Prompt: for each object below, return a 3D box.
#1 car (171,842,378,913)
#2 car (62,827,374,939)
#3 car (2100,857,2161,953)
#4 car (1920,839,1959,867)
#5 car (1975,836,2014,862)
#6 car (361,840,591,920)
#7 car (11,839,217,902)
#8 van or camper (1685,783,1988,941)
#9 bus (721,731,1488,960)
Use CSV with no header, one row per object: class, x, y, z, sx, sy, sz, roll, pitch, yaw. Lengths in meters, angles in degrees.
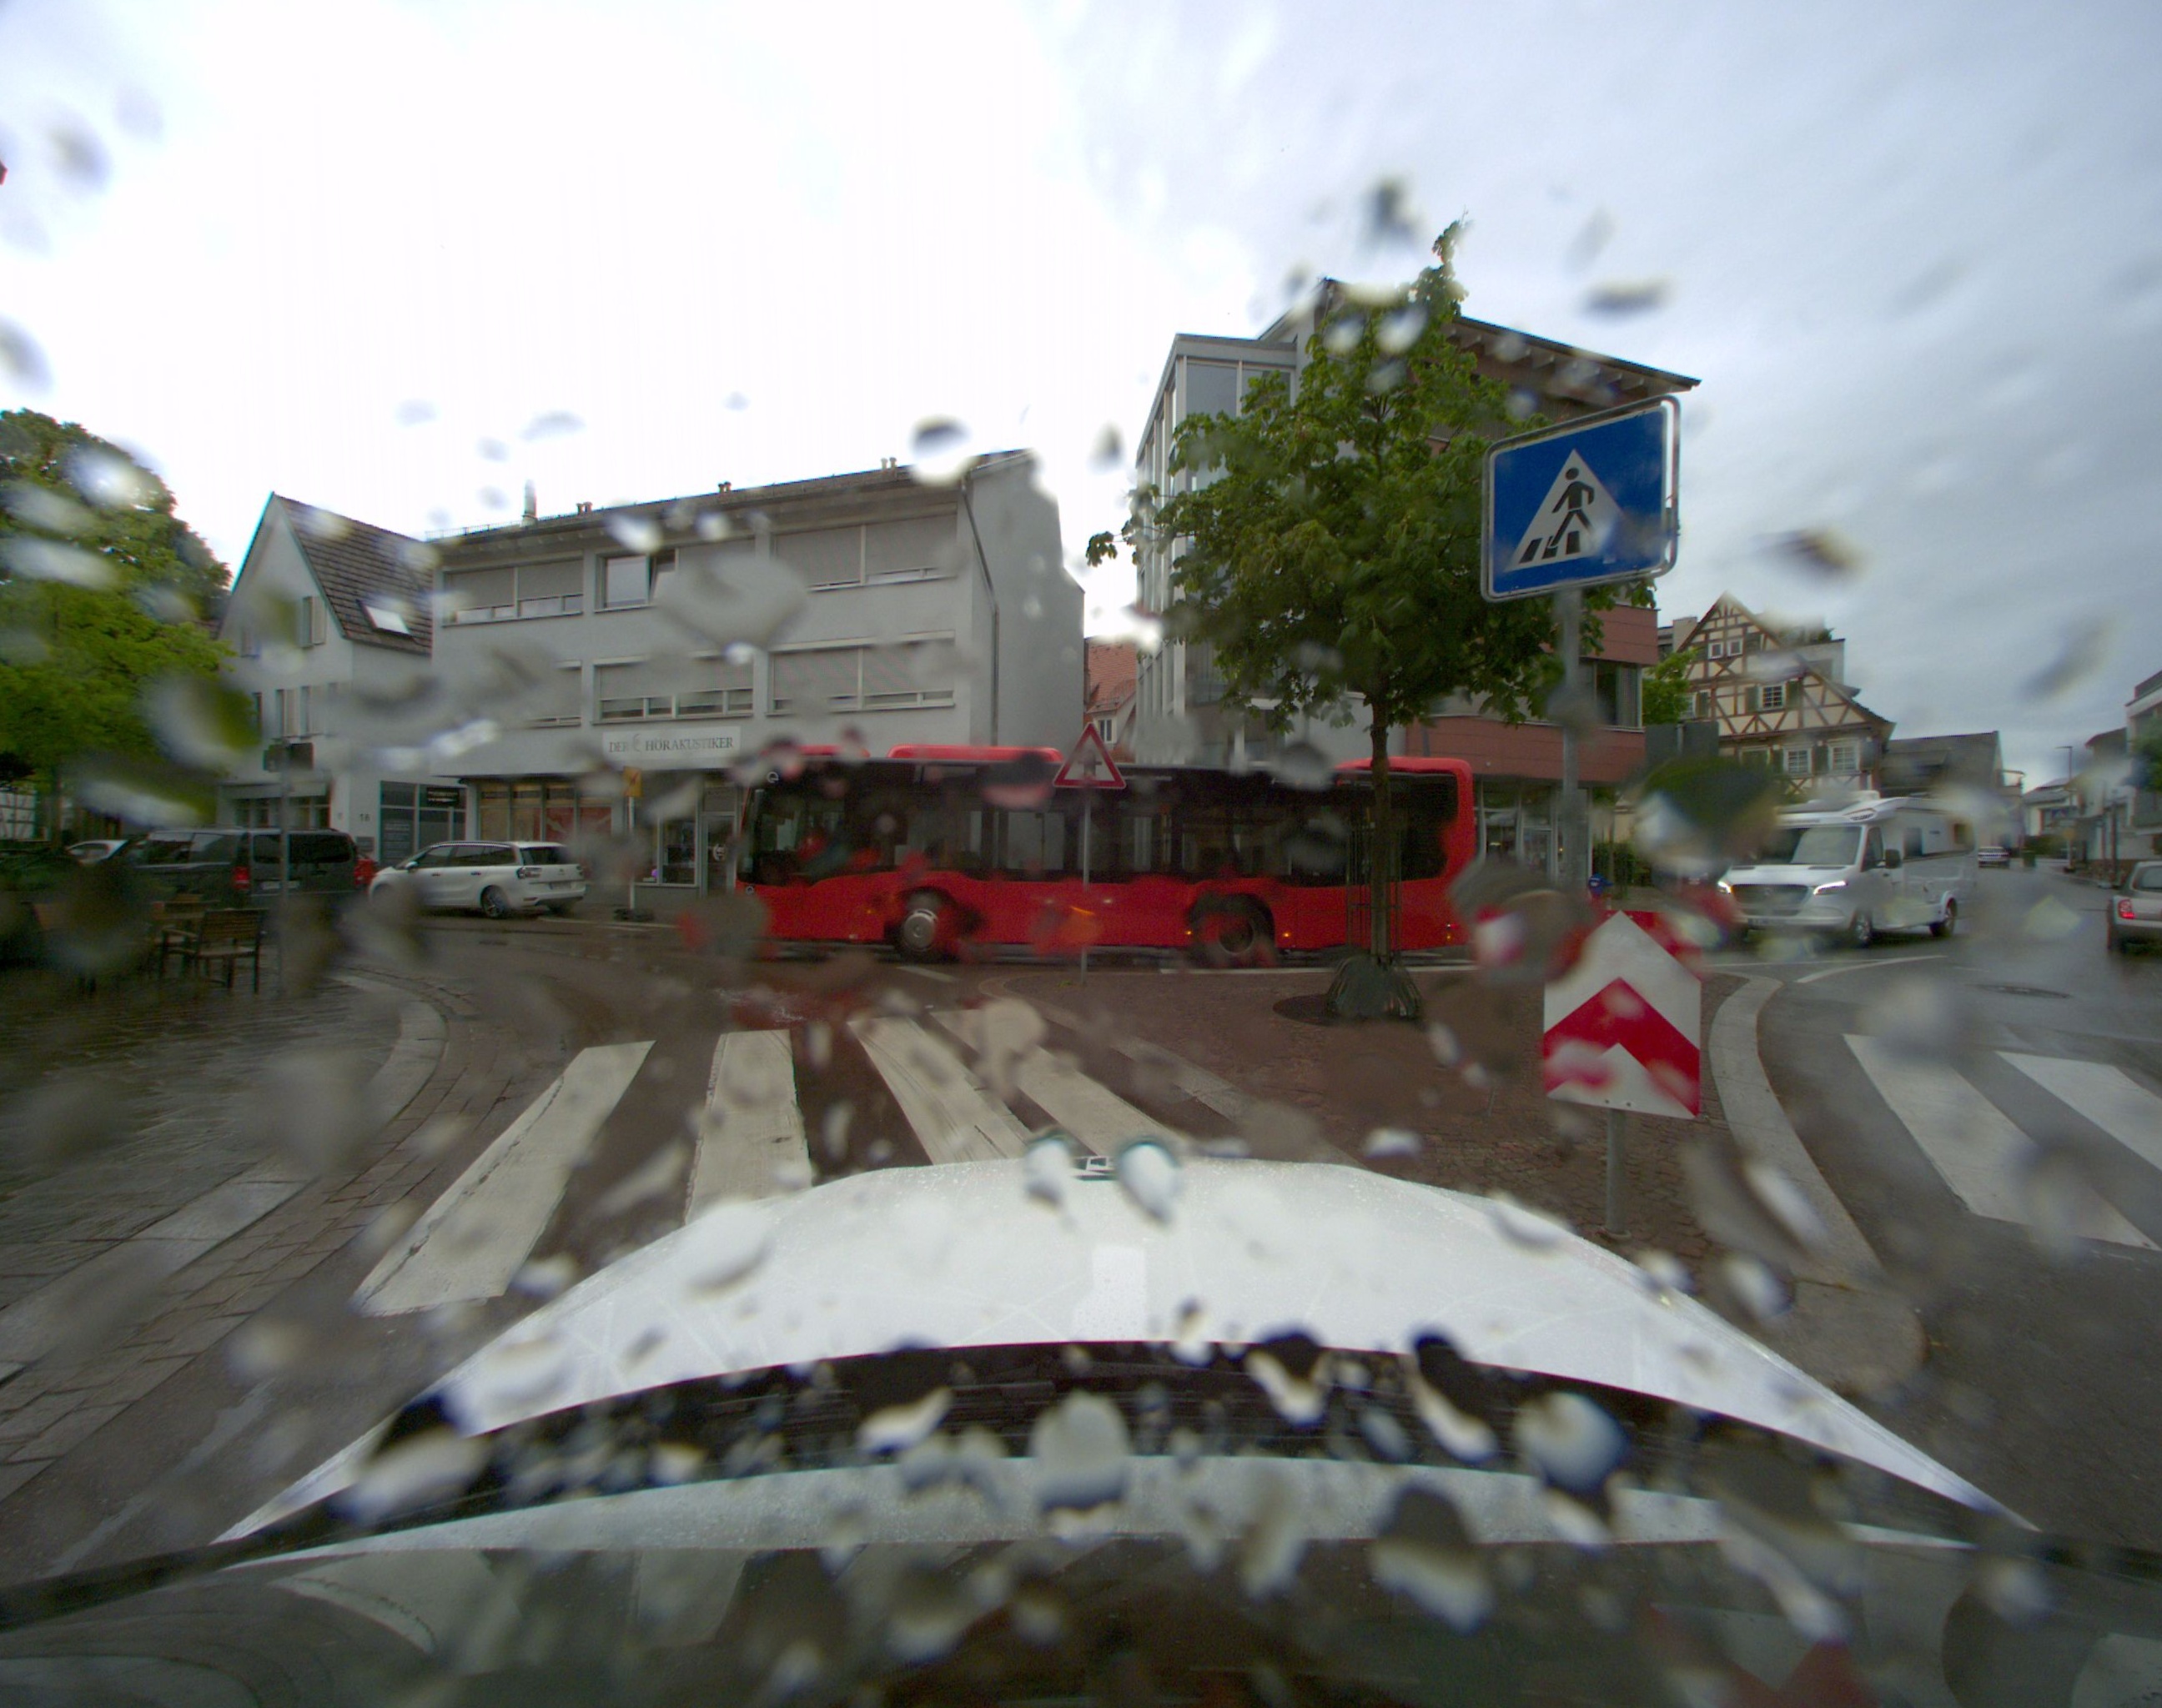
car,-18.795,0.490,19.021,3.760,1.528,1.689,1,1,14
car,-15.913,0.452,15.073,4.676,1.780,1.961,2,1,15
car,18.196,0.794,13.501,3.356,1.471,1.510,0,0,-37
car,55.060,-0.051,52.270,1.572,1.713,3.340,0,-1,44
car,63.574,-0.320,56.704,3.339,1.713,1.659,1,-1,-44
car,-13.339,0.523,18.032,4.185,1.612,1.698,1,1,11
car,-24.461,0.406,20.648,3.821,1.496,1.806,0,-1,14
van or camper,14.947,0.137,15.985,6.769,2.585,2.423,0,0,-29
bus,0.394,-0.062,12.622,10.545,3.089,2.819,0,-2,-2
